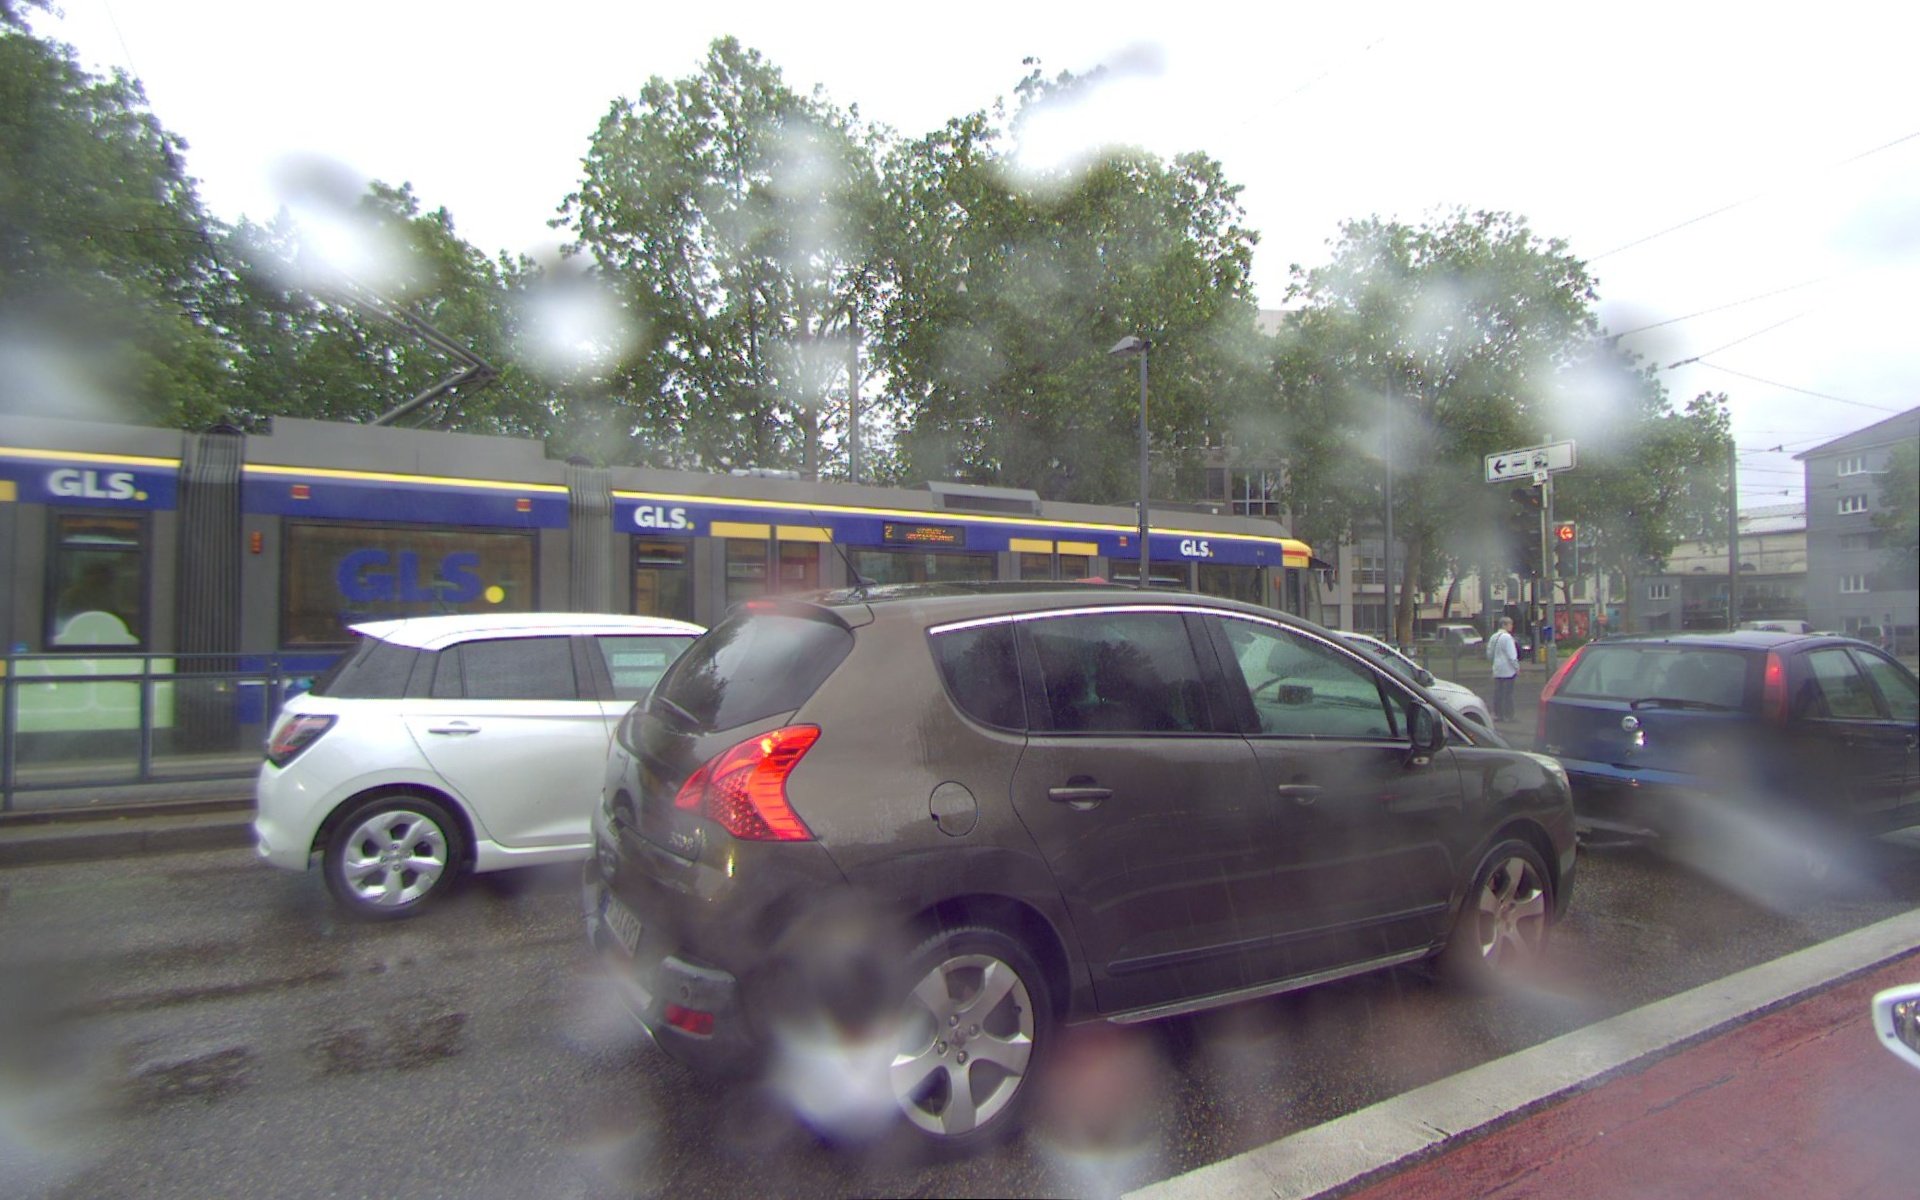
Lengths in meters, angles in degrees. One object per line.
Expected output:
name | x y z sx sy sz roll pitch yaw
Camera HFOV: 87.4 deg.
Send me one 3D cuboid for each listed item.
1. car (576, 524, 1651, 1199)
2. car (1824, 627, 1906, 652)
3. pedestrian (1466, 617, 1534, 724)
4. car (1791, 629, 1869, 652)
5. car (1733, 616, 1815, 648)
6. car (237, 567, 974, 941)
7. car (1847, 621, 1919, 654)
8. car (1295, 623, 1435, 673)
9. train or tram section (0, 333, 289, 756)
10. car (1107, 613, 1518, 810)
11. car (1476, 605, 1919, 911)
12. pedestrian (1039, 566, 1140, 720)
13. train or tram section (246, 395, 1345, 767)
car | 0.765 0.720 4.107 4.124 1.690 1.825 1 -1 -30
car | 61.654 2.682 68.457 3.922 1.550 1.999 0 0 -3
pedestrian | 8.548 1.100 15.911 0.731 1.628 0.623 1 0 -23
car | 61.361 2.844 70.899 3.922 1.516 1.960 0 0 -3
car | 59.642 2.326 73.637 4.698 2.228 1.998 0 1 -6
car | -1.954 0.737 6.127 3.791 1.650 1.637 1 -2 -30
car | 60.855 2.432 65.741 3.923 2.040 1.999 1 0 -3
car | 11.564 1.359 28.710 3.466 1.331 1.594 1 -1 -16
train or tram section | -13.249 -0.602 7.412 13.500 3.559 3.496 1 0 -31
car | 3.371 0.919 9.455 3.737 1.514 1.621 1 -1 -30
car | 5.537 0.875 6.988 3.776 1.599 1.719 1 -1 -30
pedestrian | 1.559 0.510 12.111 0.888 1.769 0.762 0 -3 -30
train or tram section | -0.905 -0.028 14.803 15.324 3.458 3.523 1 0 -31
